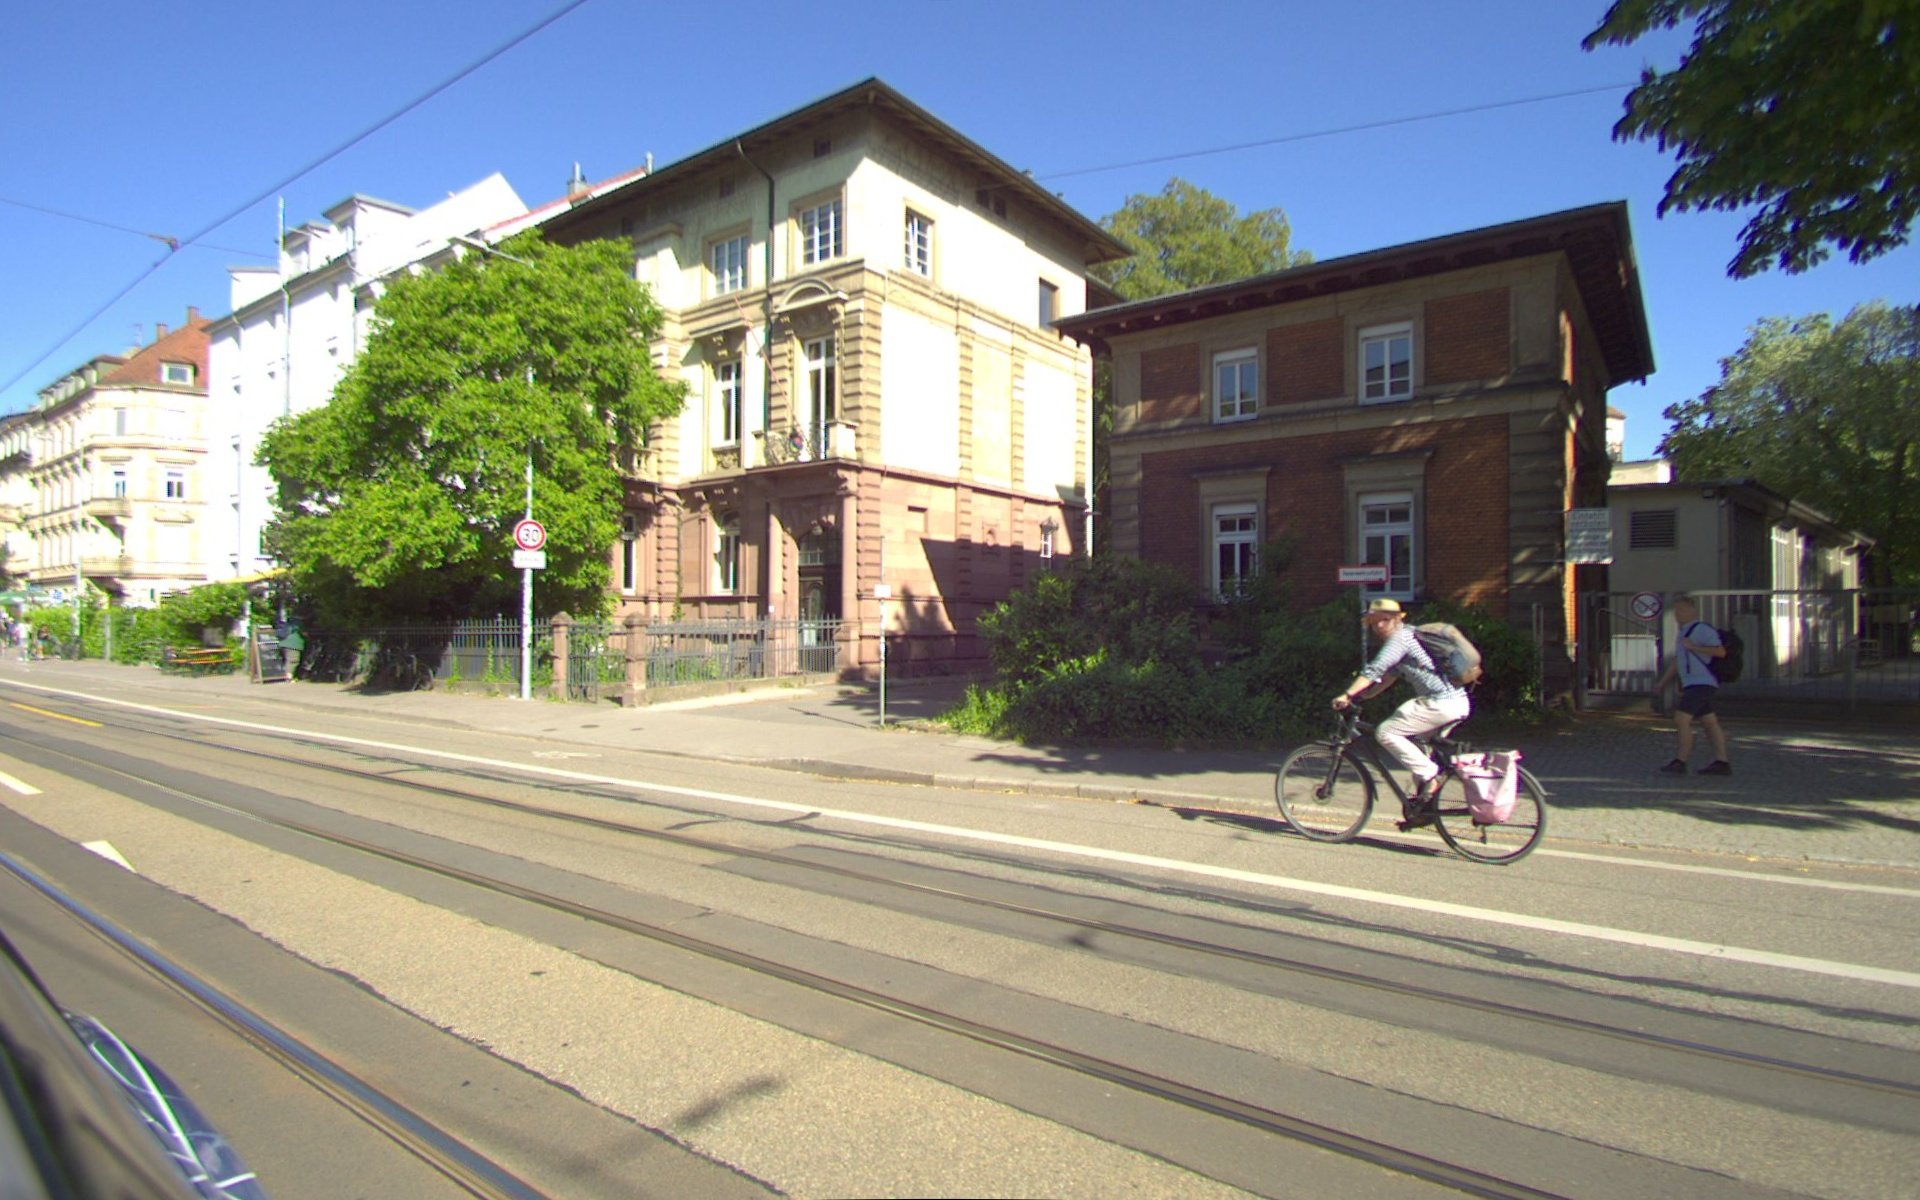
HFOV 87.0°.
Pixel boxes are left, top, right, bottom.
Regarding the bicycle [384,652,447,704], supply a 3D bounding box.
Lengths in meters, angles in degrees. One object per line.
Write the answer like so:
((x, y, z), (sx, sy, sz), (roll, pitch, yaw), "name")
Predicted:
((-12.083, 1.704, 22.438), (1.903, 1.053, 0.583), (-1, -1, 41), "bicycle")

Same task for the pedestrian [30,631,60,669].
((-36.599, 1.993, 40.476), (0.955, 1.489, 0.747), (-2, -1, 38), "pedestrian")

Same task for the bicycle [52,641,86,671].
((-35.111, 2.205, 39.872), (1.837, 1.097, 0.655), (0, 1, 38), "bicycle")

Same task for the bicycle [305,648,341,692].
((-16.597, 1.808, 26.355), (0.628, 1.053, 2.026), (1, -2, -36), "bicycle")

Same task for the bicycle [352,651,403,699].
((-13.733, 1.745, 23.829), (0.583, 1.053, 1.906), (0, -1, -45), "bicycle")

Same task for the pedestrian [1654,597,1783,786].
((7.584, 0.887, 10.157), (0.772, 1.810, 0.728), (-1, 0, 14), "pedestrian")

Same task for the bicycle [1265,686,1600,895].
((3.117, 1.185, 6.812), (1.930, 1.133, 0.679), (-1, -4, 41), "bicycle")

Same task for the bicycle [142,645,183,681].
((-25.678, 2.008, 32.578), (1.740, 1.067, 0.632), (-1, 0, 38), "bicycle")

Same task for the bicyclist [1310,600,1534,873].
((3.107, 0.858, 6.847), (1.237, 1.657, 0.679), (-2, -4, 41), "bicyclist")

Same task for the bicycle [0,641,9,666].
((-42.952, 2.390, 44.796), (0.694, 1.063, 1.841), (2, -1, -26), "bicycle")

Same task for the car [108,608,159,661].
((-46.765, 1.898, 57.314), (1.861, 2.862, 4.795), (2, -1, -36), "car")

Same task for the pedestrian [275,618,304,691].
((-17.073, 1.376, 25.775), (0.568, 1.845, 0.691), (1, -2, -34), "pedestrian")

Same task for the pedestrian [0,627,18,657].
((-53.041, 2.325, 56.255), (0.694, 1.667, 0.835), (1, -1, -21), "pedestrian")

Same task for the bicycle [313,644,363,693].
((-15.600, 1.693, 25.346), (0.638, 1.152, 1.906), (-1, 0, -45), "bicycle")

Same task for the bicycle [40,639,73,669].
((-36.625, 2.185, 41.012), (1.837, 1.097, 0.655), (0, 1, 38), "bicycle")

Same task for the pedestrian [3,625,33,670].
((-37.076, 1.878, 39.844), (0.807, 1.727, 0.747), (-2, -1, 38), "pedestrian")

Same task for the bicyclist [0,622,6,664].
((-42.949, 1.915, 44.818), (0.694, 1.868, 0.989), (2, -1, -26), "bicyclist")

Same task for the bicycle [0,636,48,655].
((-54.092, 2.612, 58.356), (2.213, 1.052, 0.876), (2, -1, -44), "bicycle")
